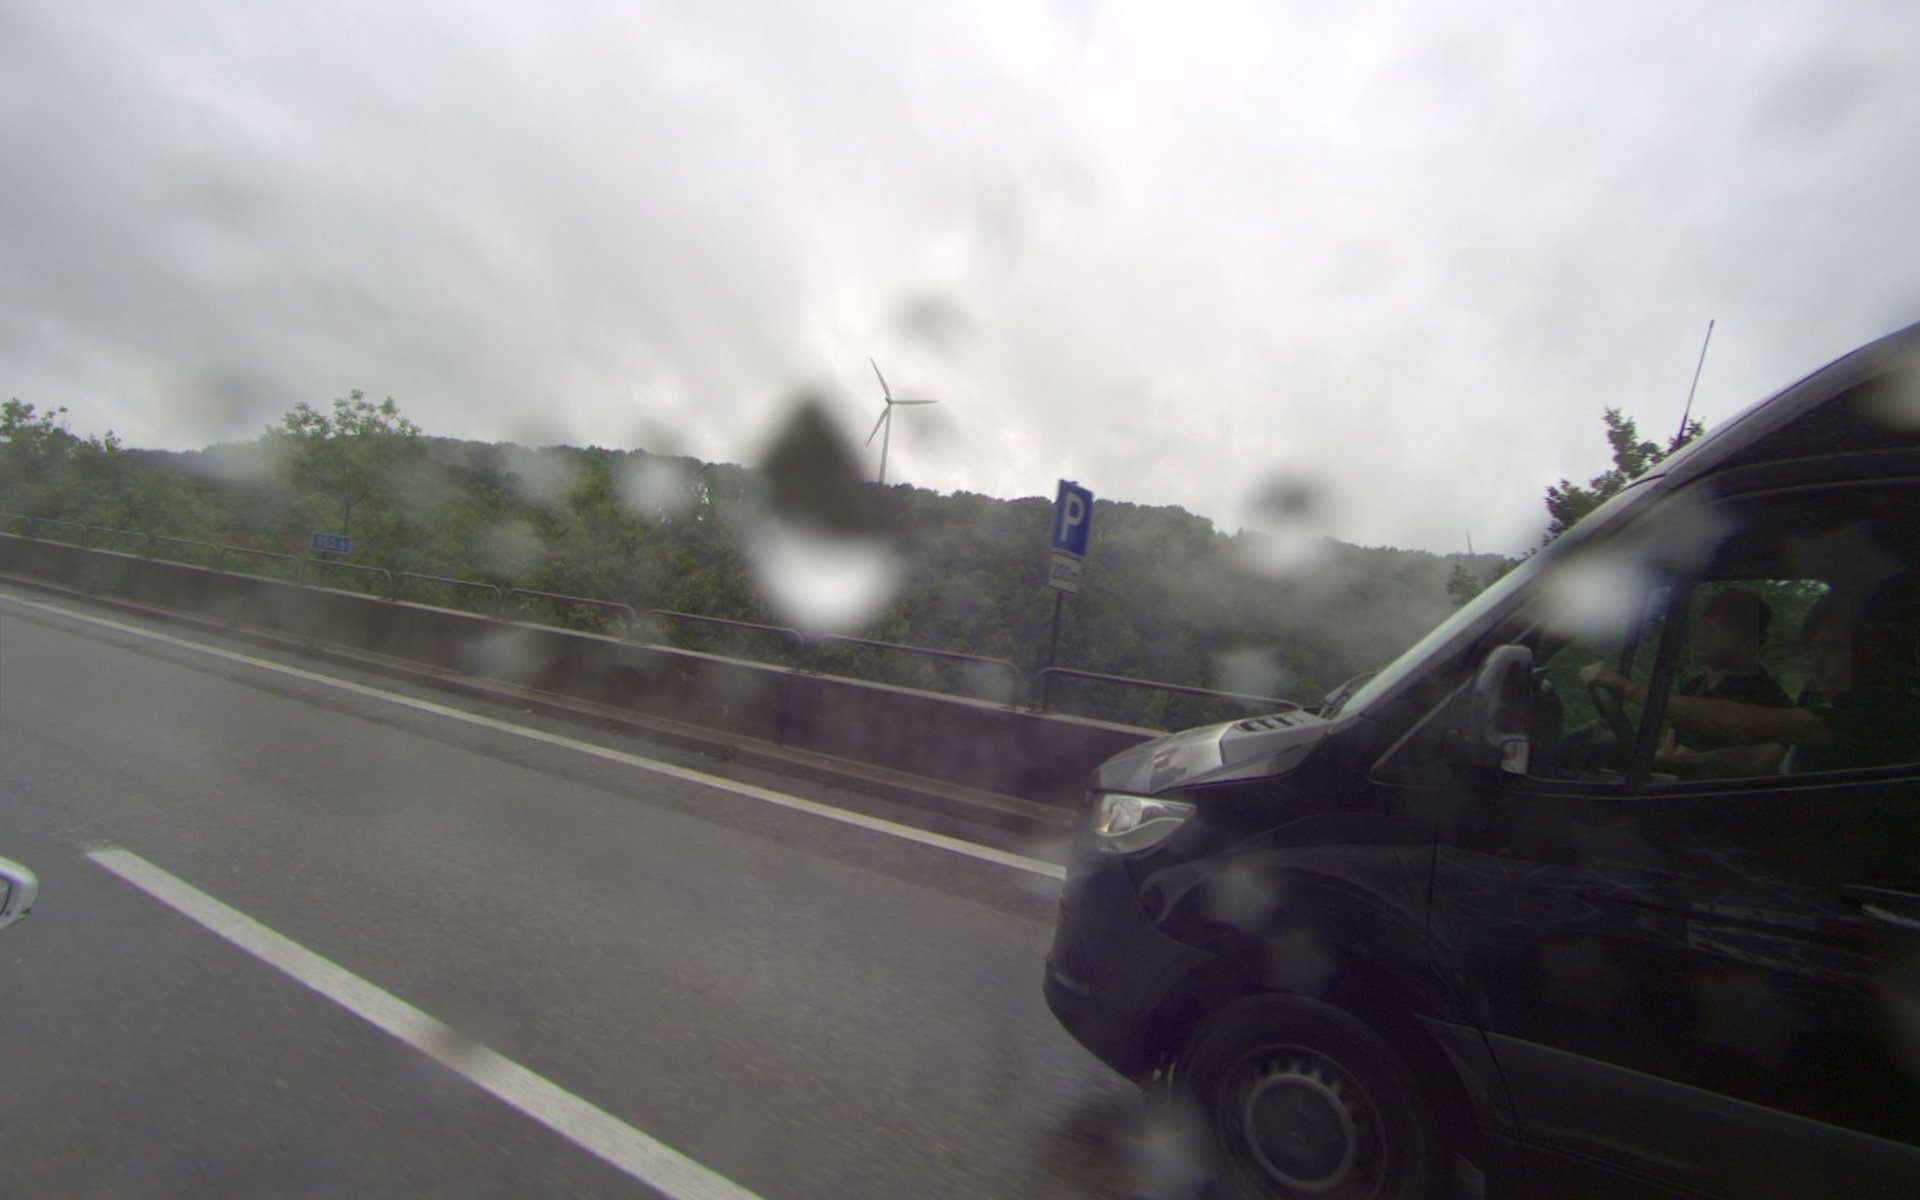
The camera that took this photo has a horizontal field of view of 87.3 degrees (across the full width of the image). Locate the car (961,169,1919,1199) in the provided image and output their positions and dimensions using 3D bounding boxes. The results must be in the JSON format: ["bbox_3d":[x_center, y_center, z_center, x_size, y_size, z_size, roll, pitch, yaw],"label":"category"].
[{"bbox_3d":[3.445,0.655,2.029,6.594,2.524,1.997,7,-1,32],"label":"car"}]
